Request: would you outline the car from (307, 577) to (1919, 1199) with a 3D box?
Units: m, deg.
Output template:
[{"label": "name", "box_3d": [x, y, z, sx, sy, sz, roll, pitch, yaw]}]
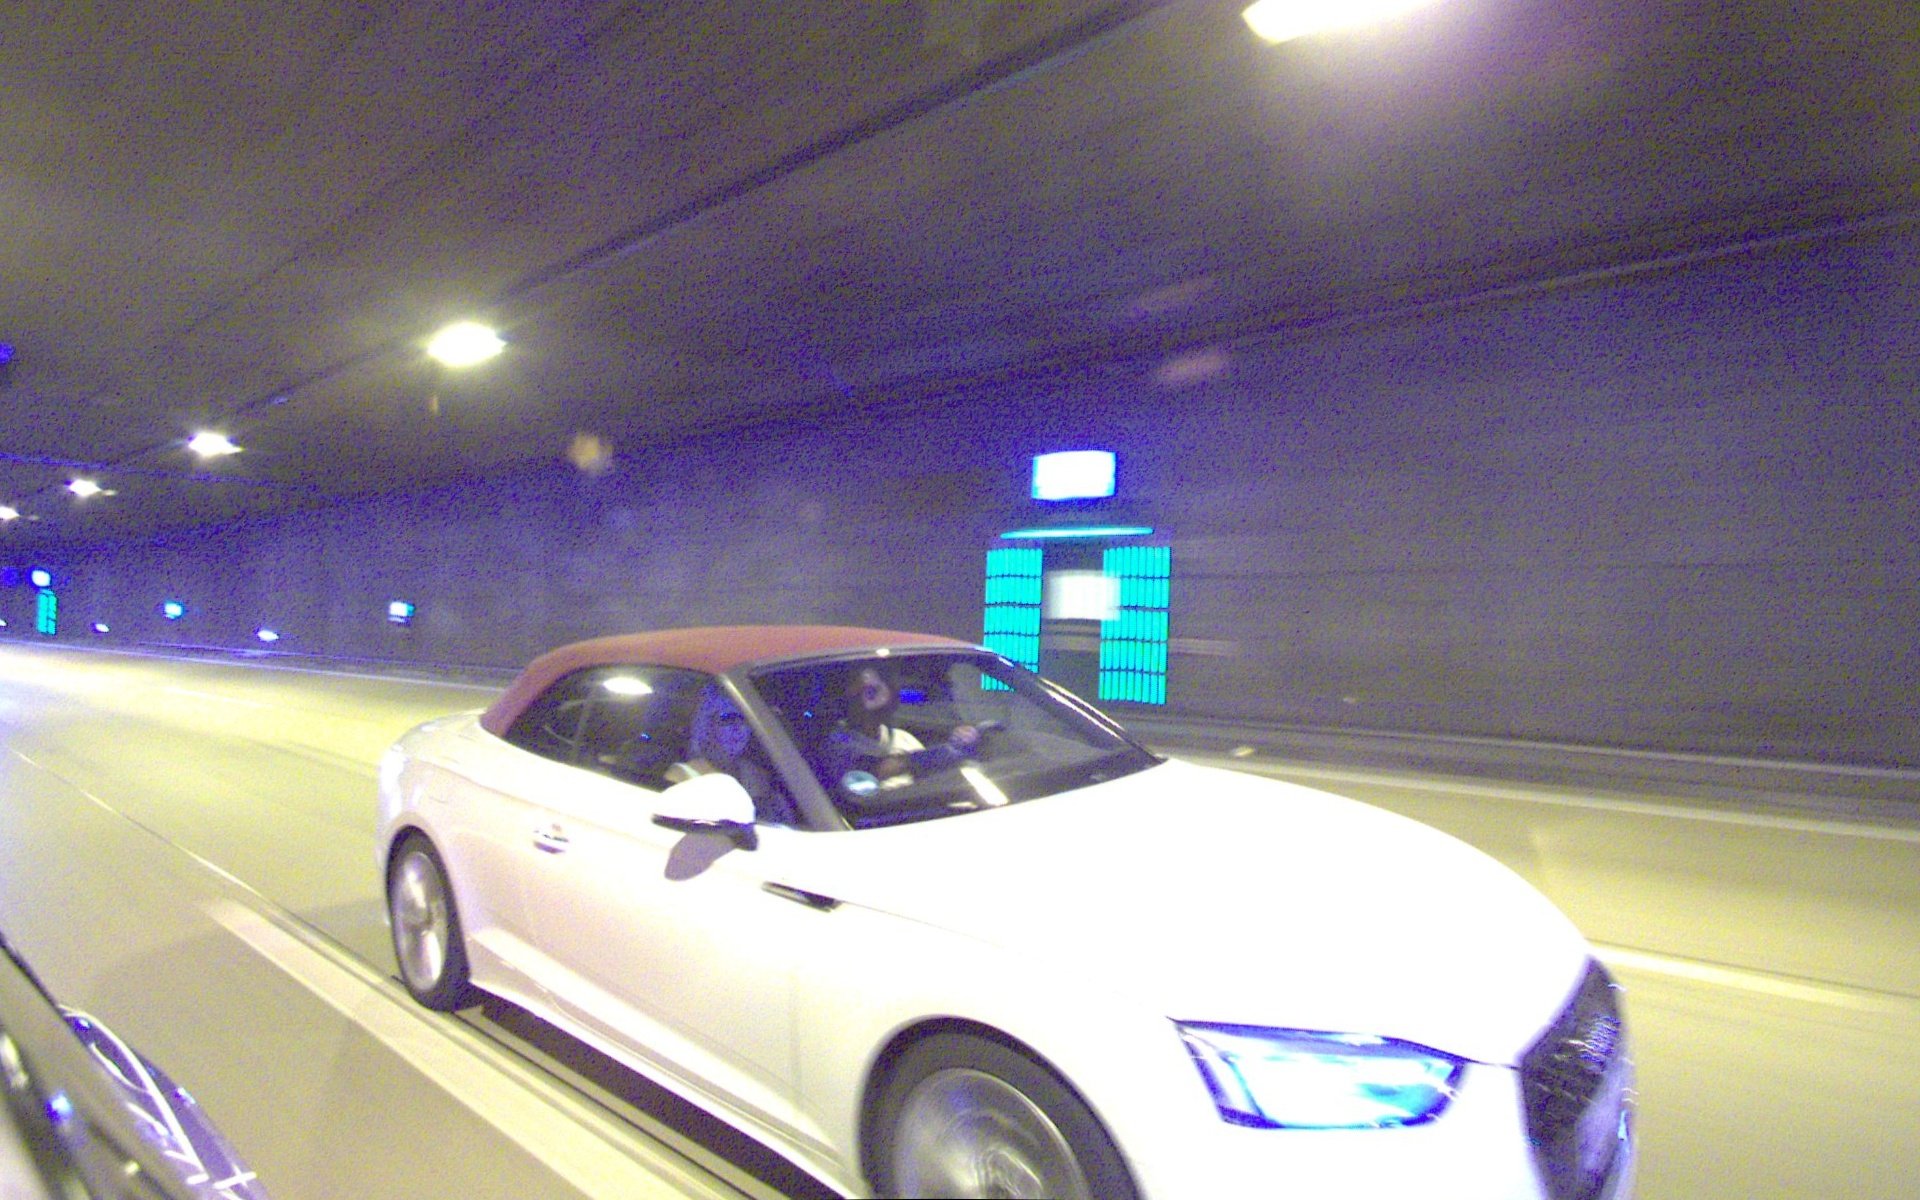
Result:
[{"label": "car", "box_3d": [-0.362, 0.712, 3.297, 5.058, 1.429, 1.684, 0, -1, 42]}]
